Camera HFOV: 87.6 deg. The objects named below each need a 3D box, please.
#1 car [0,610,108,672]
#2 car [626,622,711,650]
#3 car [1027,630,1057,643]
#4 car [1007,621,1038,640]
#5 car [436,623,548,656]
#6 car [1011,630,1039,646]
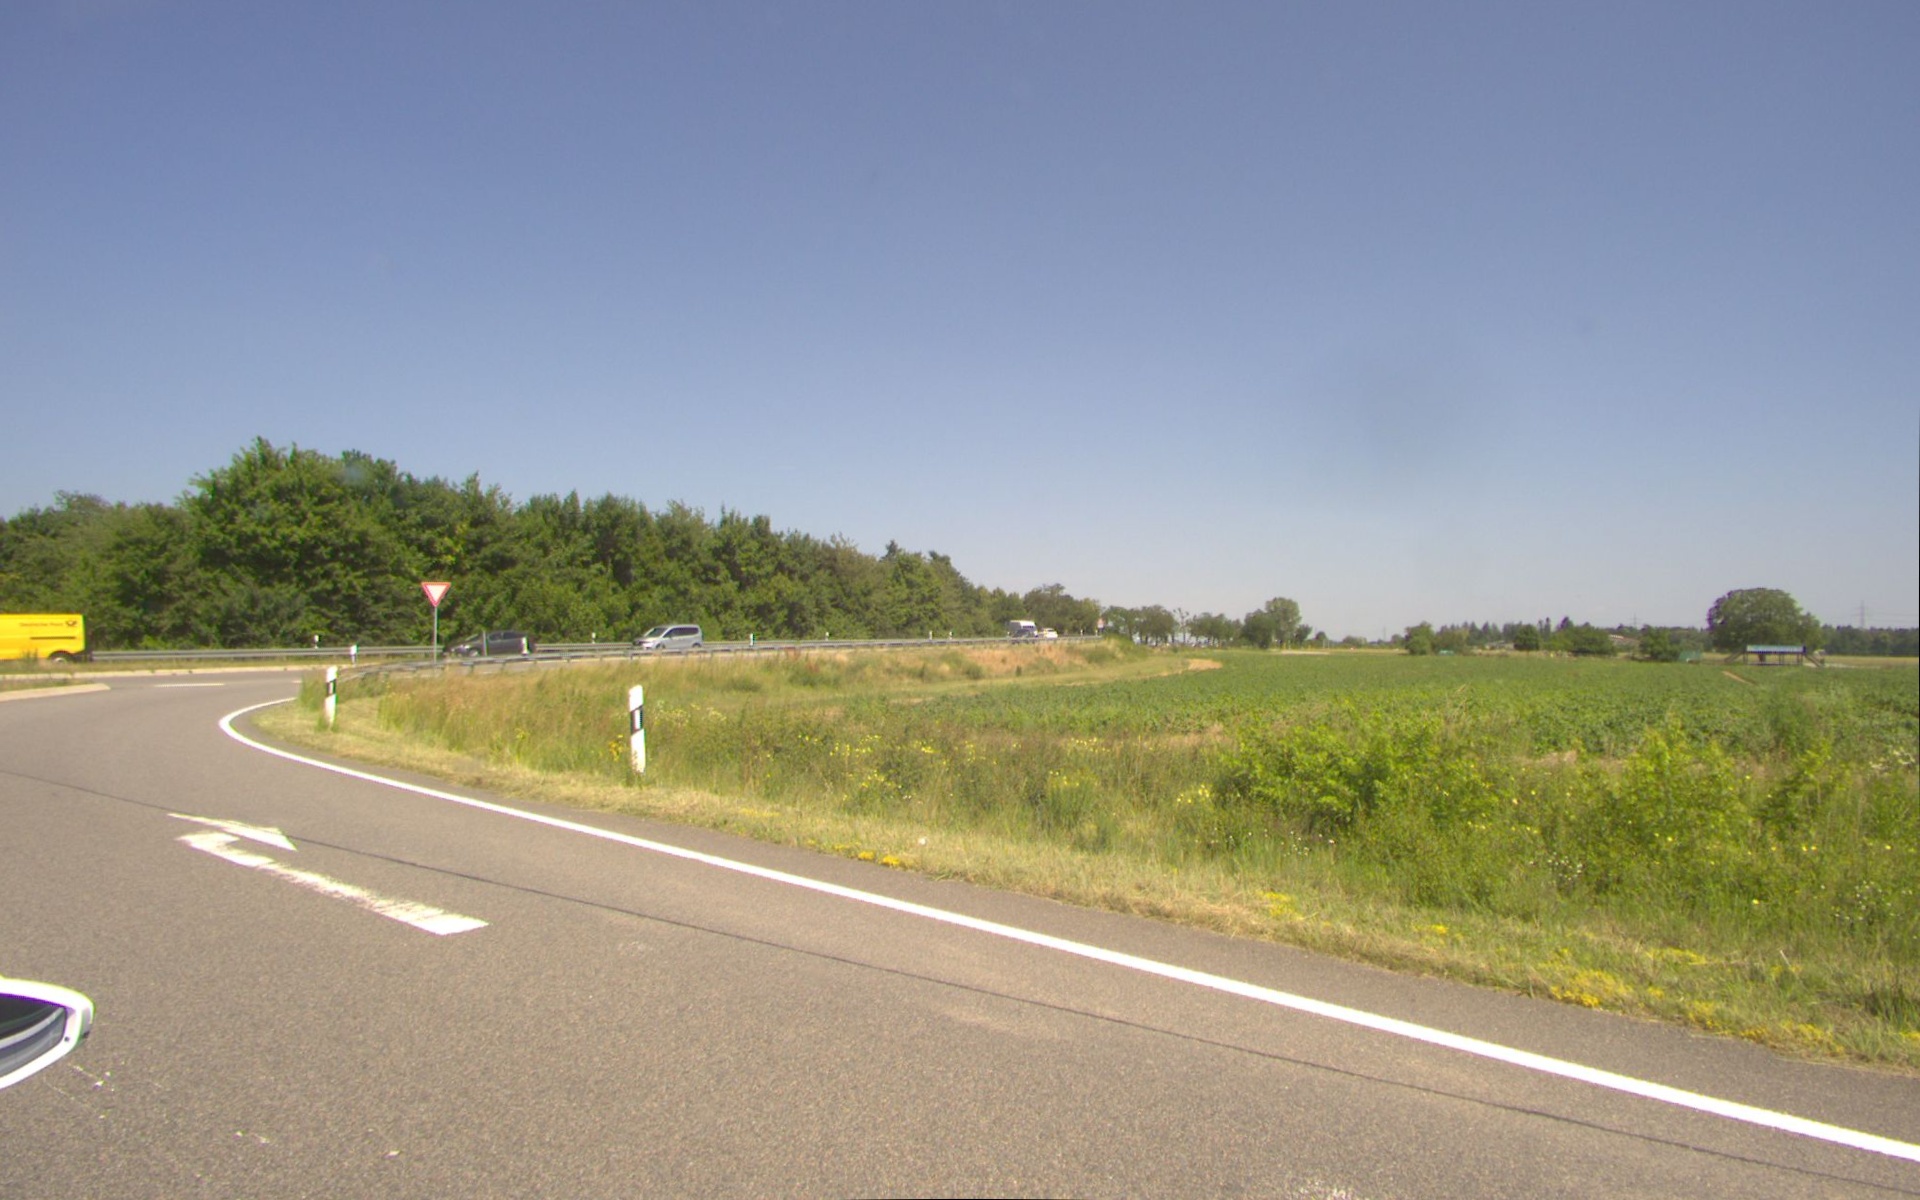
[{"bbox_3d":[-32.278,1.380,33.614,1.973,2.039,5.310,-1,-2,34],"label":"car"},{"bbox_3d":[-16.721,2.083,57.645,1.827,1.533,4.673,-1,-2,33],"label":"car"},{"bbox_3d":[10.621,4.732,130.382,1.714,1.587,4.460,-1,0,-30],"label":"car"},{"bbox_3d":[7.675,3.741,123.515,2.011,2.303,5.571,0,-2,-16],"label":"car"},{"bbox_3d":[-22.506,1.893,48.317,1.828,1.533,4.671,-1,-2,34],"label":"car"},{"bbox_3d":[6.739,3.910,103.387,1.709,1.587,4.475,-1,0,19],"label":"car"}]
